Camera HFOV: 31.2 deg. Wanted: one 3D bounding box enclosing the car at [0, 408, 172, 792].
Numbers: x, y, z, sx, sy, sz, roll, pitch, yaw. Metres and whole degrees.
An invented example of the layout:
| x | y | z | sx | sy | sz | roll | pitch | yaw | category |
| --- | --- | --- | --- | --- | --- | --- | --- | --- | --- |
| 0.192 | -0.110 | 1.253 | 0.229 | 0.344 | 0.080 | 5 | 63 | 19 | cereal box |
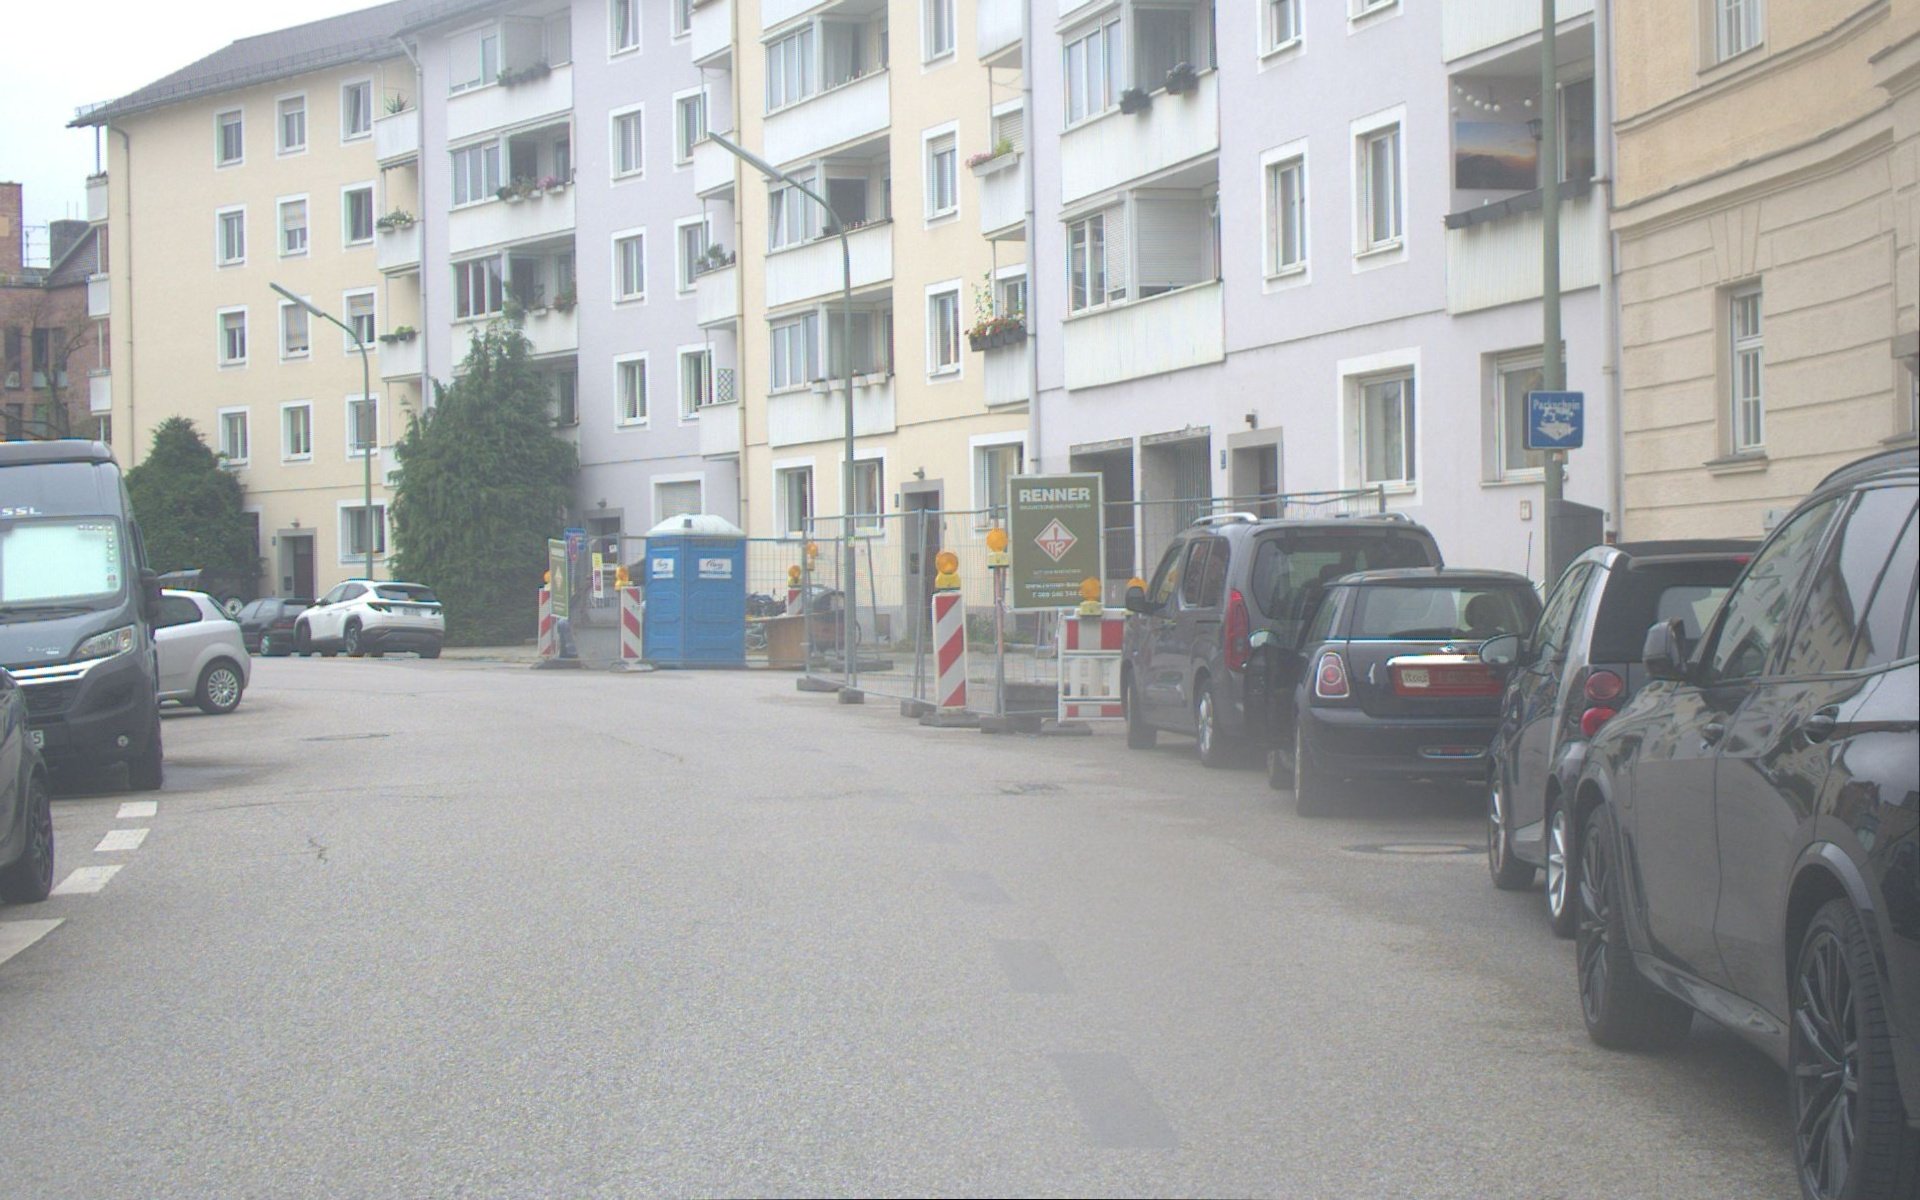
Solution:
| x | y | z | sx | sy | sz | roll | pitch | yaw | category |
| --- | --- | --- | --- | --- | --- | --- | --- | --- | --- |
| -7.180 | -0.002 | 26.272 | 2.143 | 2.565 | 6.213 | -2 | 1 | -13 | car |

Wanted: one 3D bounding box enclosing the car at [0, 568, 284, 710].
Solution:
| x | y | z | sx | sy | sz | roll | pitch | yaw | category |
| --- | --- | --- | --- | --- | --- | --- | --- | --- | --- |
| -9.743 | 0.424 | 38.718 | 1.674 | 1.525 | 3.973 | 1 | 0 | 41 | car |

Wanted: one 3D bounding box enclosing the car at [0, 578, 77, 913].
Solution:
| x | y | z | sx | sy | sz | roll | pitch | yaw | category |
| --- | --- | --- | --- | --- | --- | --- | --- | --- | --- |
| -5.052 | 0.676 | 15.171 | 1.666 | 1.455 | 2.868 | -3 | 0 | -4 | car |

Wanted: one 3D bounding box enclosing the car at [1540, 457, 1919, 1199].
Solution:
| x | y | z | sx | sy | sz | roll | pitch | yaw | category |
| --- | --- | --- | --- | --- | --- | --- | --- | --- | --- |
| 2.817 | 0.551 | 8.610 | 1.927 | 1.724 | 4.687 | 1 | 2 | 0 | car |

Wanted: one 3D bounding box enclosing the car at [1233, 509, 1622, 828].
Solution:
| x | y | z | sx | sy | sz | roll | pitch | yaw | category |
| --- | --- | --- | --- | --- | --- | --- | --- | --- | --- |
| 2.724 | 0.376 | 20.819 | 1.836 | 1.724 | 3.730 | 1 | 0 | 0 | car |

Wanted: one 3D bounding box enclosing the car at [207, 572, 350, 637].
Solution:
| x | y | z | sx | sy | sz | roll | pitch | yaw | category |
| --- | --- | --- | --- | --- | --- | --- | --- | --- | --- |
| -15.040 | 0.118 | 75.759 | 1.658 | 1.344 | 3.803 | 1 | -2 | -35 | car |

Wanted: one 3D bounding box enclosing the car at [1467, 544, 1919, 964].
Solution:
| x | y | z | sx | sy | sz | roll | pitch | yaw | category |
| --- | --- | --- | --- | --- | --- | --- | --- | --- | --- |
| 3.045 | 0.578 | 14.341 | 1.507 | 1.551 | 2.862 | 1 | 0 | 2 | car |

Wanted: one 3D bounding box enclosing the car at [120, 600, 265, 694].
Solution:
| x | y | z | sx | sy | sz | roll | pitch | yaw | category |
| --- | --- | --- | --- | --- | --- | --- | --- | --- | --- |
| -17.803 | 1.067 | 79.650 | 1.747 | 2.074 | 4.515 | 1 | 0 | -34 | car |

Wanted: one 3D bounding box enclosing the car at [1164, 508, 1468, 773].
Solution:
| x | y | z | sx | sy | sz | roll | pitch | yaw | category |
| --- | --- | --- | --- | --- | --- | --- | --- | --- | --- |
| 2.581 | 0.280 | 25.843 | 1.836 | 1.793 | 4.238 | 1 | 0 | 0 | car |

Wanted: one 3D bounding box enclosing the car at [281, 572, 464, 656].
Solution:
| x | y | z | sx | sy | sz | roll | pitch | yaw | category |
| --- | --- | --- | --- | --- | --- | --- | --- | --- | --- |
| -12.251 | 0.272 | 71.493 | 2.026 | 1.672 | 4.612 | 1 | 0 | -34 | car |
